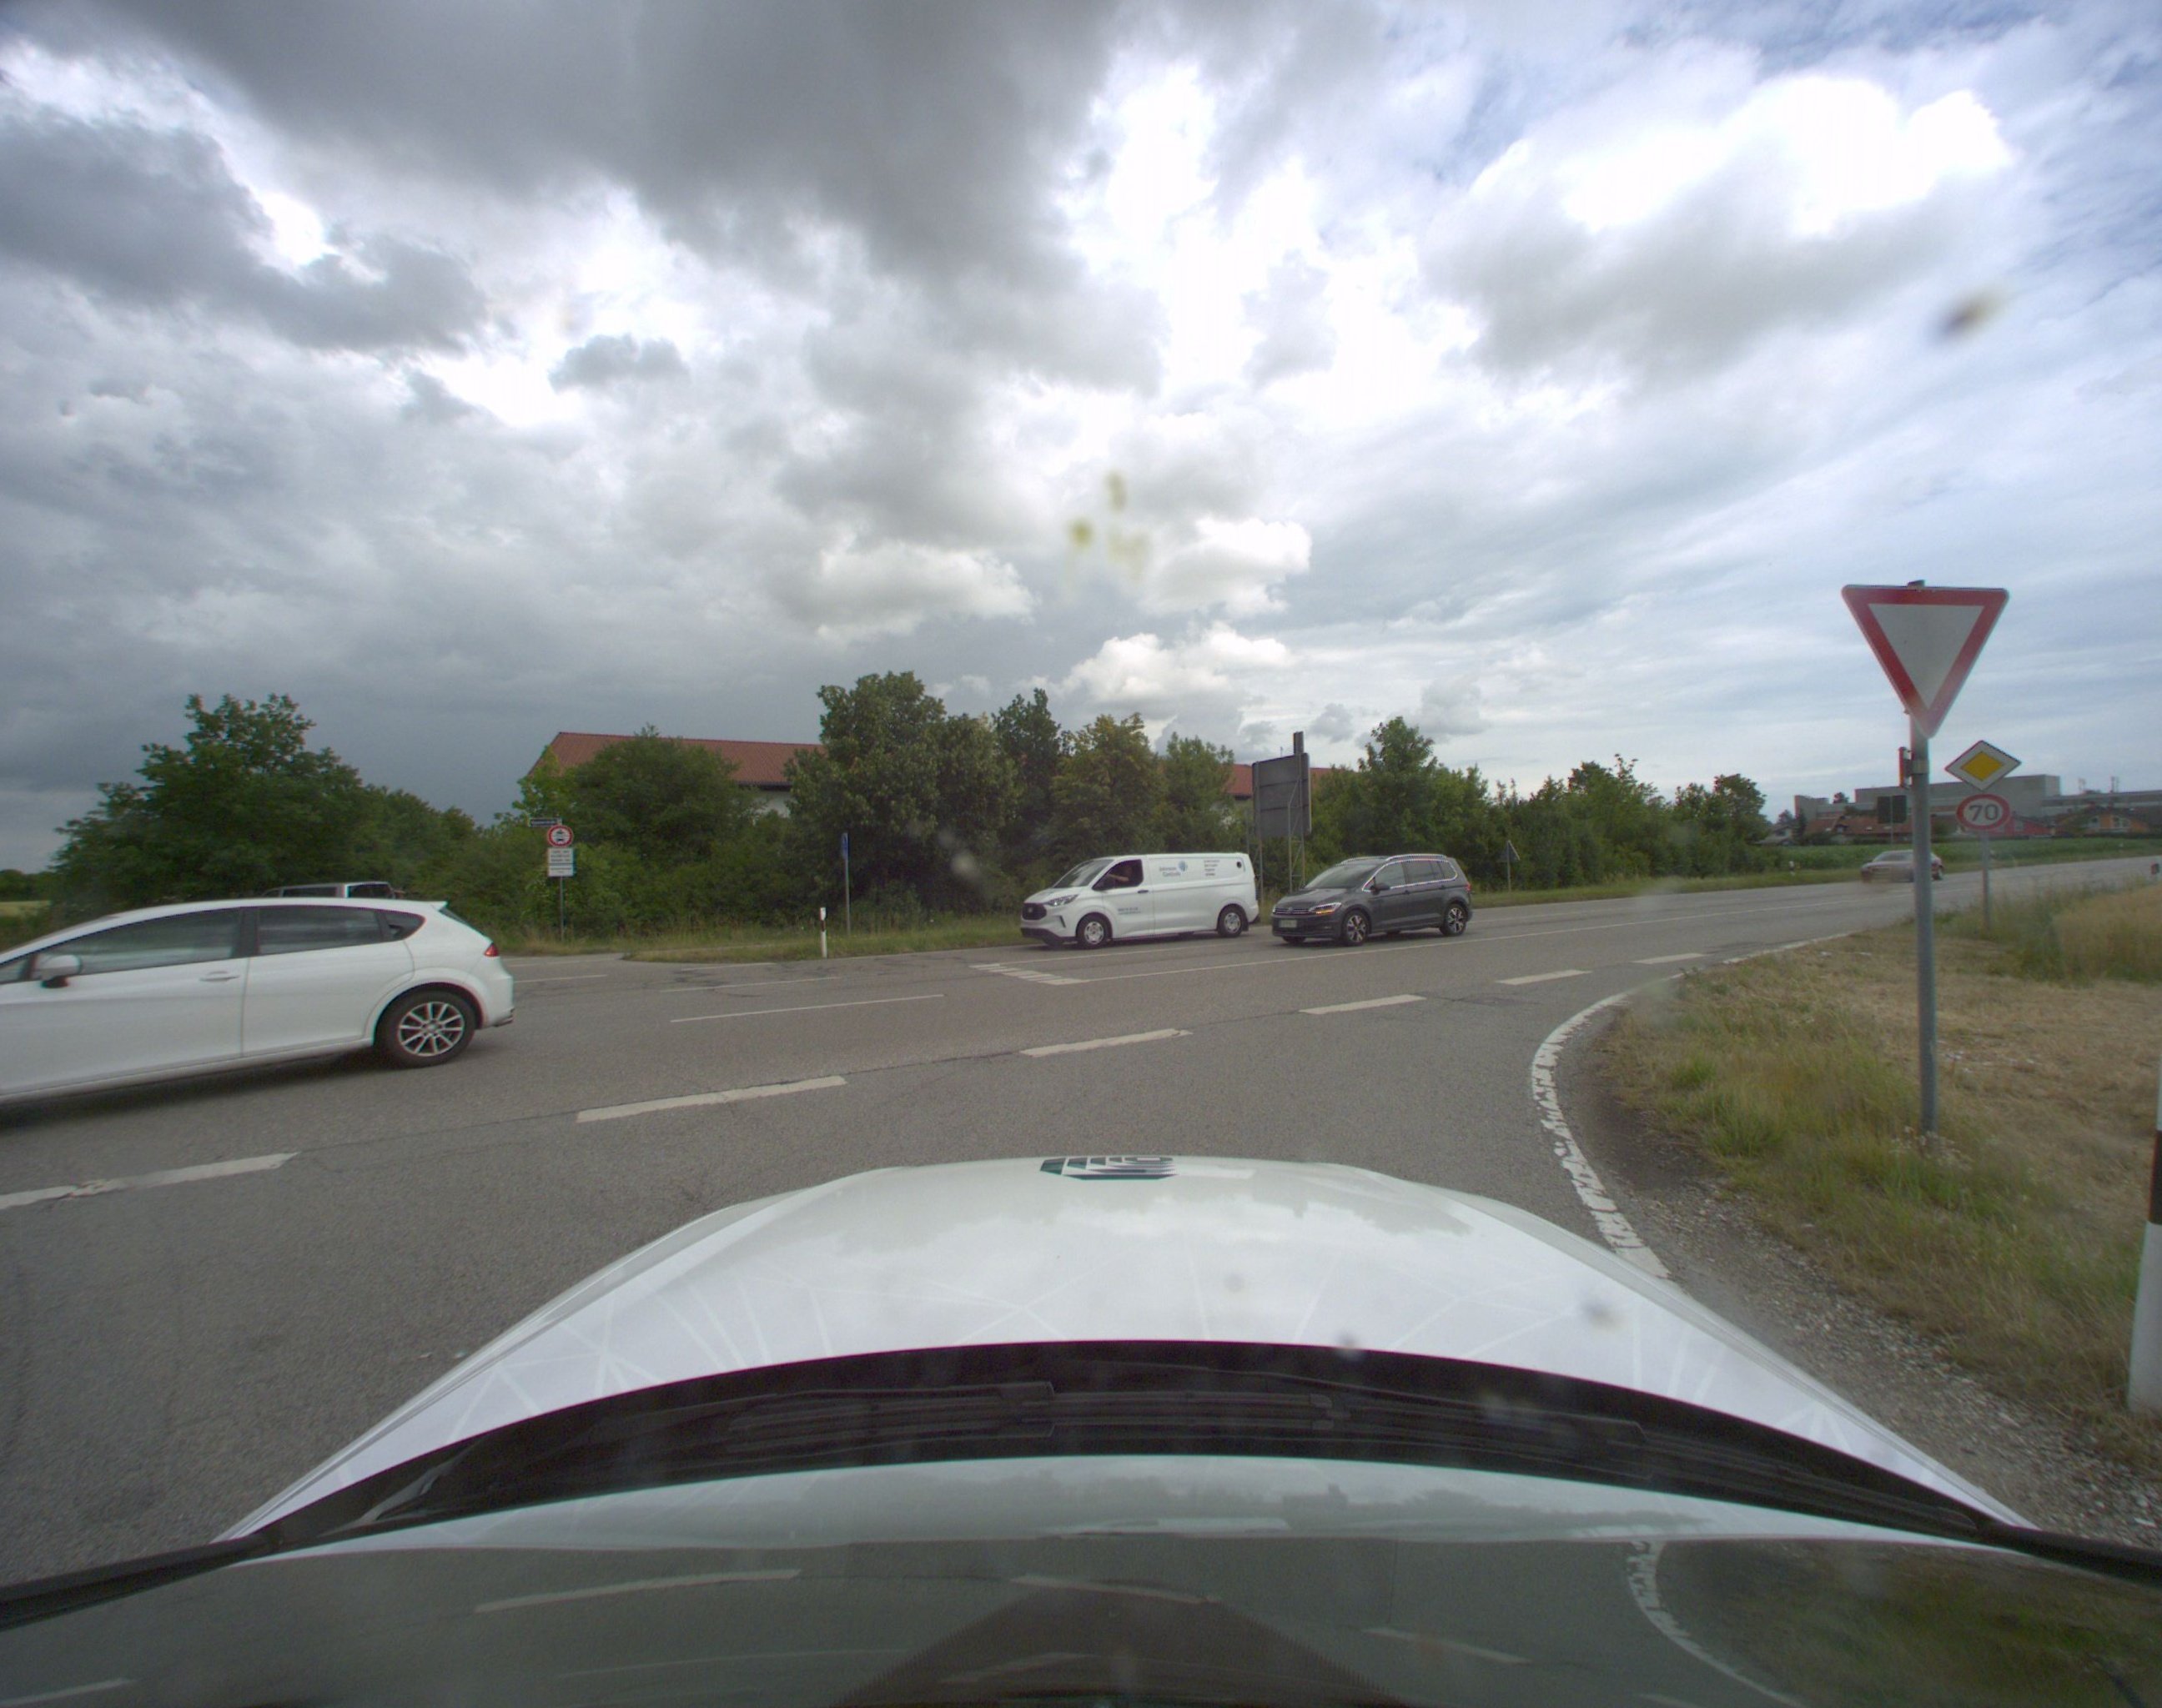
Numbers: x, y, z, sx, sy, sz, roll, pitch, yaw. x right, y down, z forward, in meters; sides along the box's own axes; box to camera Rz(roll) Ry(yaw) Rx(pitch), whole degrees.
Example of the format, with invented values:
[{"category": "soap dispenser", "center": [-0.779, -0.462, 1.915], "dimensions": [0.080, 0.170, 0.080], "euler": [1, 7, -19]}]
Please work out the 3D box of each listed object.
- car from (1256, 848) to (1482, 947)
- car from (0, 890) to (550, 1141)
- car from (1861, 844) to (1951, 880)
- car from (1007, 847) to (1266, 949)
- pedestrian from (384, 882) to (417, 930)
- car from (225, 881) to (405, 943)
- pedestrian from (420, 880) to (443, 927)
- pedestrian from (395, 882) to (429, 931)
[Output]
[{"category": "car", "center": [5.735, 0.793, 16.110], "dimensions": [4.302, 1.658, 1.737], "euler": [-1, -2, -29]}, {"category": "car", "center": [-6.873, 1.098, 6.212], "dimensions": [1.796, 1.408, 4.340], "euler": [-4, -2, 37]}, {"category": "car", "center": [36.858, 0.359, 36.375], "dimensions": [4.099, 1.402, 1.662], "euler": [-2, -2, -28]}, {"category": "car", "center": [1.292, 0.886, 18.050], "dimensions": [5.405, 1.886, 2.093], "euler": [-1, -1, -29]}, {"category": "pedestrian", "center": [-25.224, 1.898, 30.182], "dimensions": [0.703, 1.723, 0.728], "euler": [-1, -1, -21]}, {"category": "car", "center": [-27.217, 2.044, 28.983], "dimensions": [5.049, 1.886, 2.120], "euler": [-2, 0, 12]}, {"category": "pedestrian", "center": [-24.812, 1.885, 31.117], "dimensions": [0.492, 1.746, 0.638], "euler": [-2, -1, -24]}, {"category": "pedestrian", "center": [-24.217, 1.876, 29.483], "dimensions": [0.727, 1.723, 0.785], "euler": [-1, -1, -24]}]
